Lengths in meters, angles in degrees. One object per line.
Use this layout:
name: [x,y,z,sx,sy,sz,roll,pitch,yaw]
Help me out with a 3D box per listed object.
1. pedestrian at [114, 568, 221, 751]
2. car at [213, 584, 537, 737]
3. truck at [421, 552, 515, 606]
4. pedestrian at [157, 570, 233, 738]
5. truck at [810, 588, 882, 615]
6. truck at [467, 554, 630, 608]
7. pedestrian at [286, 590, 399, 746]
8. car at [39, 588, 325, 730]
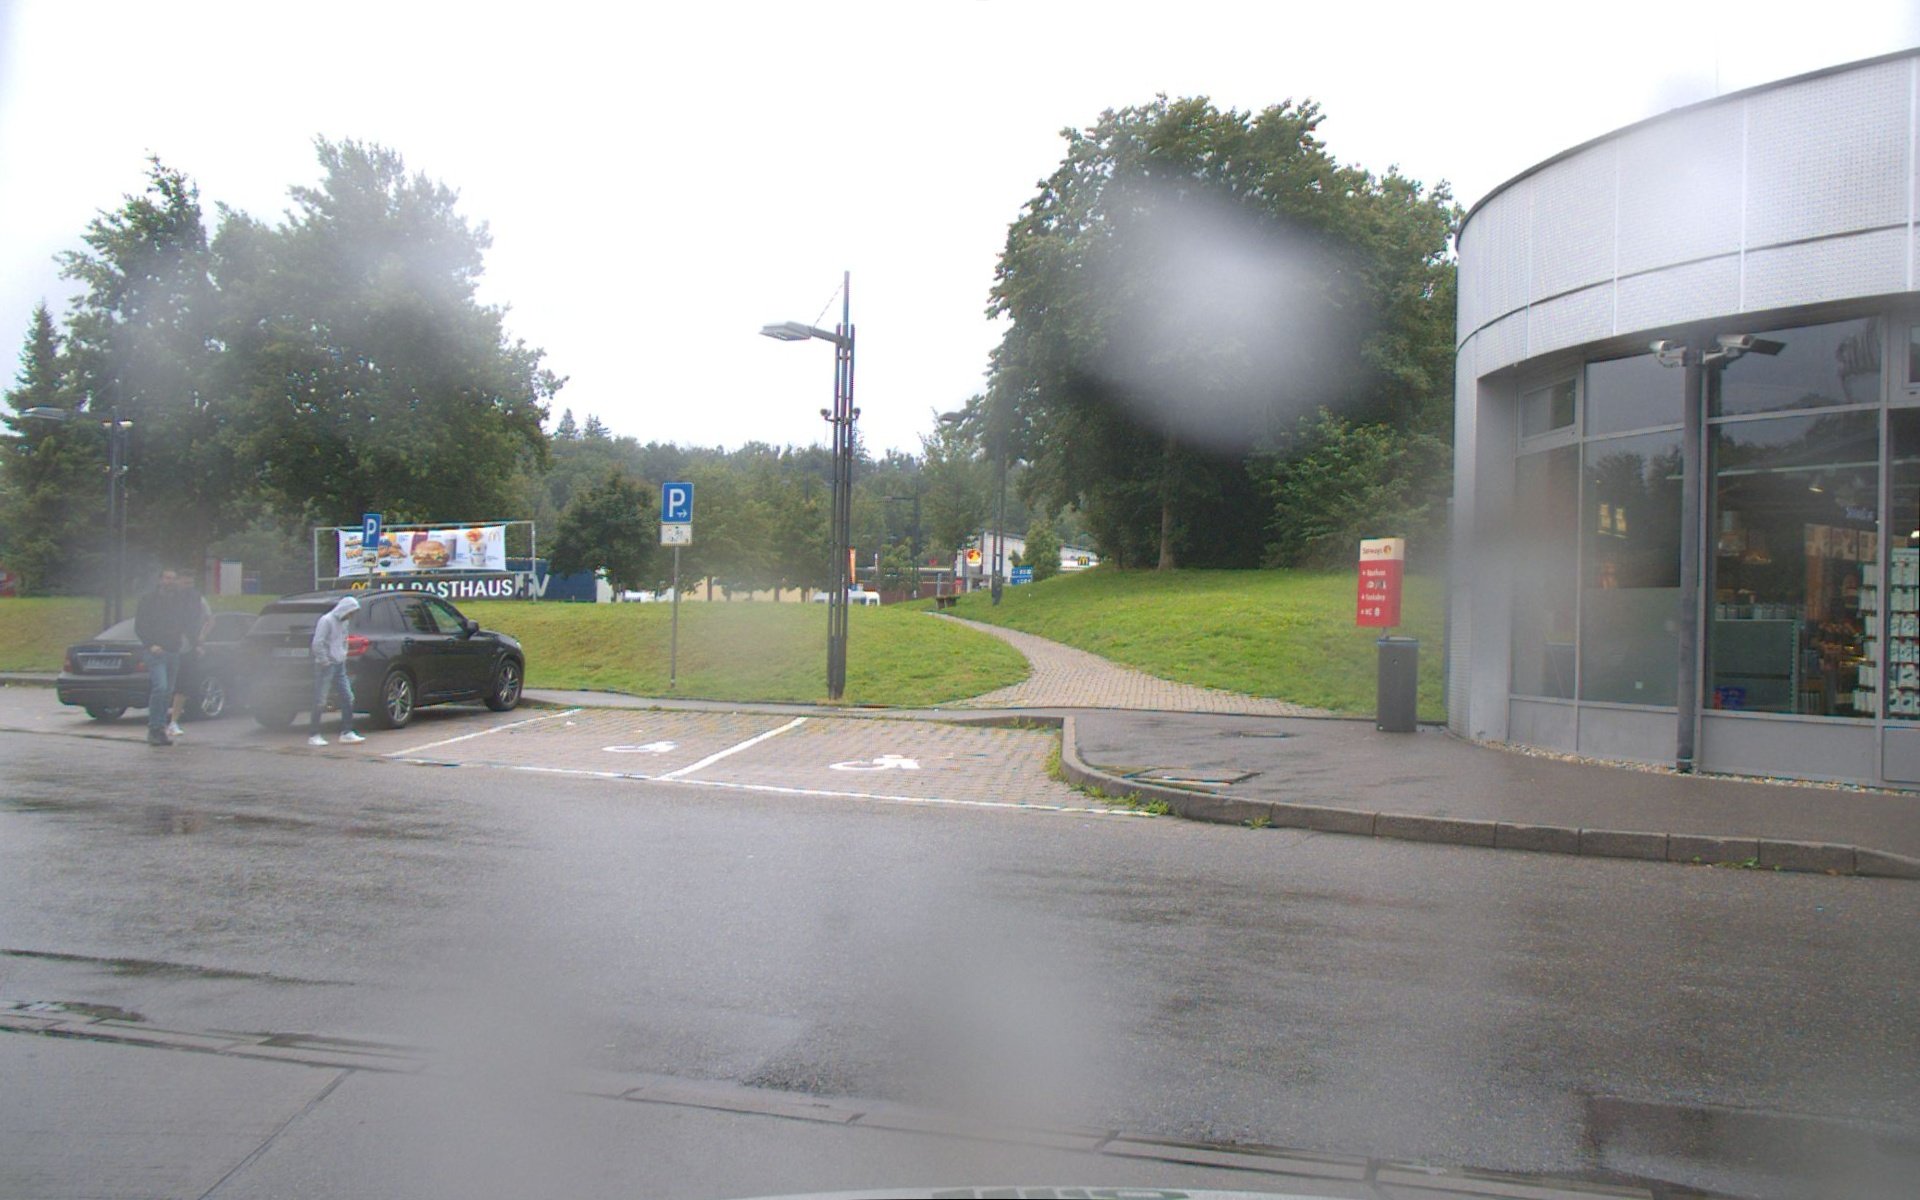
pedestrian: [-8.585,0.625,17.920,0.876,1.920,0.701,1,-1,38]
car: [-7.368,0.693,21.371,1.973,1.741,4.347,-1,1,11]
truck: [-27.984,-1.169,94.253,2.142,2.971,5.384,1,0,24]
pedestrian: [-9.001,0.618,19.487,0.691,1.920,0.948,1,-1,-20]
truck: [-9.237,0.143,133.666,5.298,2.049,2.366,1,0,24]
truck: [-24.933,-1.085,101.268,2.142,2.971,13.092,1,0,23]
pedestrian: [-6.782,0.725,18.175,0.933,1.660,0.703,1,-1,29]
car: [-10.576,0.719,22.889,1.976,1.741,4.342,-1,1,-2]
